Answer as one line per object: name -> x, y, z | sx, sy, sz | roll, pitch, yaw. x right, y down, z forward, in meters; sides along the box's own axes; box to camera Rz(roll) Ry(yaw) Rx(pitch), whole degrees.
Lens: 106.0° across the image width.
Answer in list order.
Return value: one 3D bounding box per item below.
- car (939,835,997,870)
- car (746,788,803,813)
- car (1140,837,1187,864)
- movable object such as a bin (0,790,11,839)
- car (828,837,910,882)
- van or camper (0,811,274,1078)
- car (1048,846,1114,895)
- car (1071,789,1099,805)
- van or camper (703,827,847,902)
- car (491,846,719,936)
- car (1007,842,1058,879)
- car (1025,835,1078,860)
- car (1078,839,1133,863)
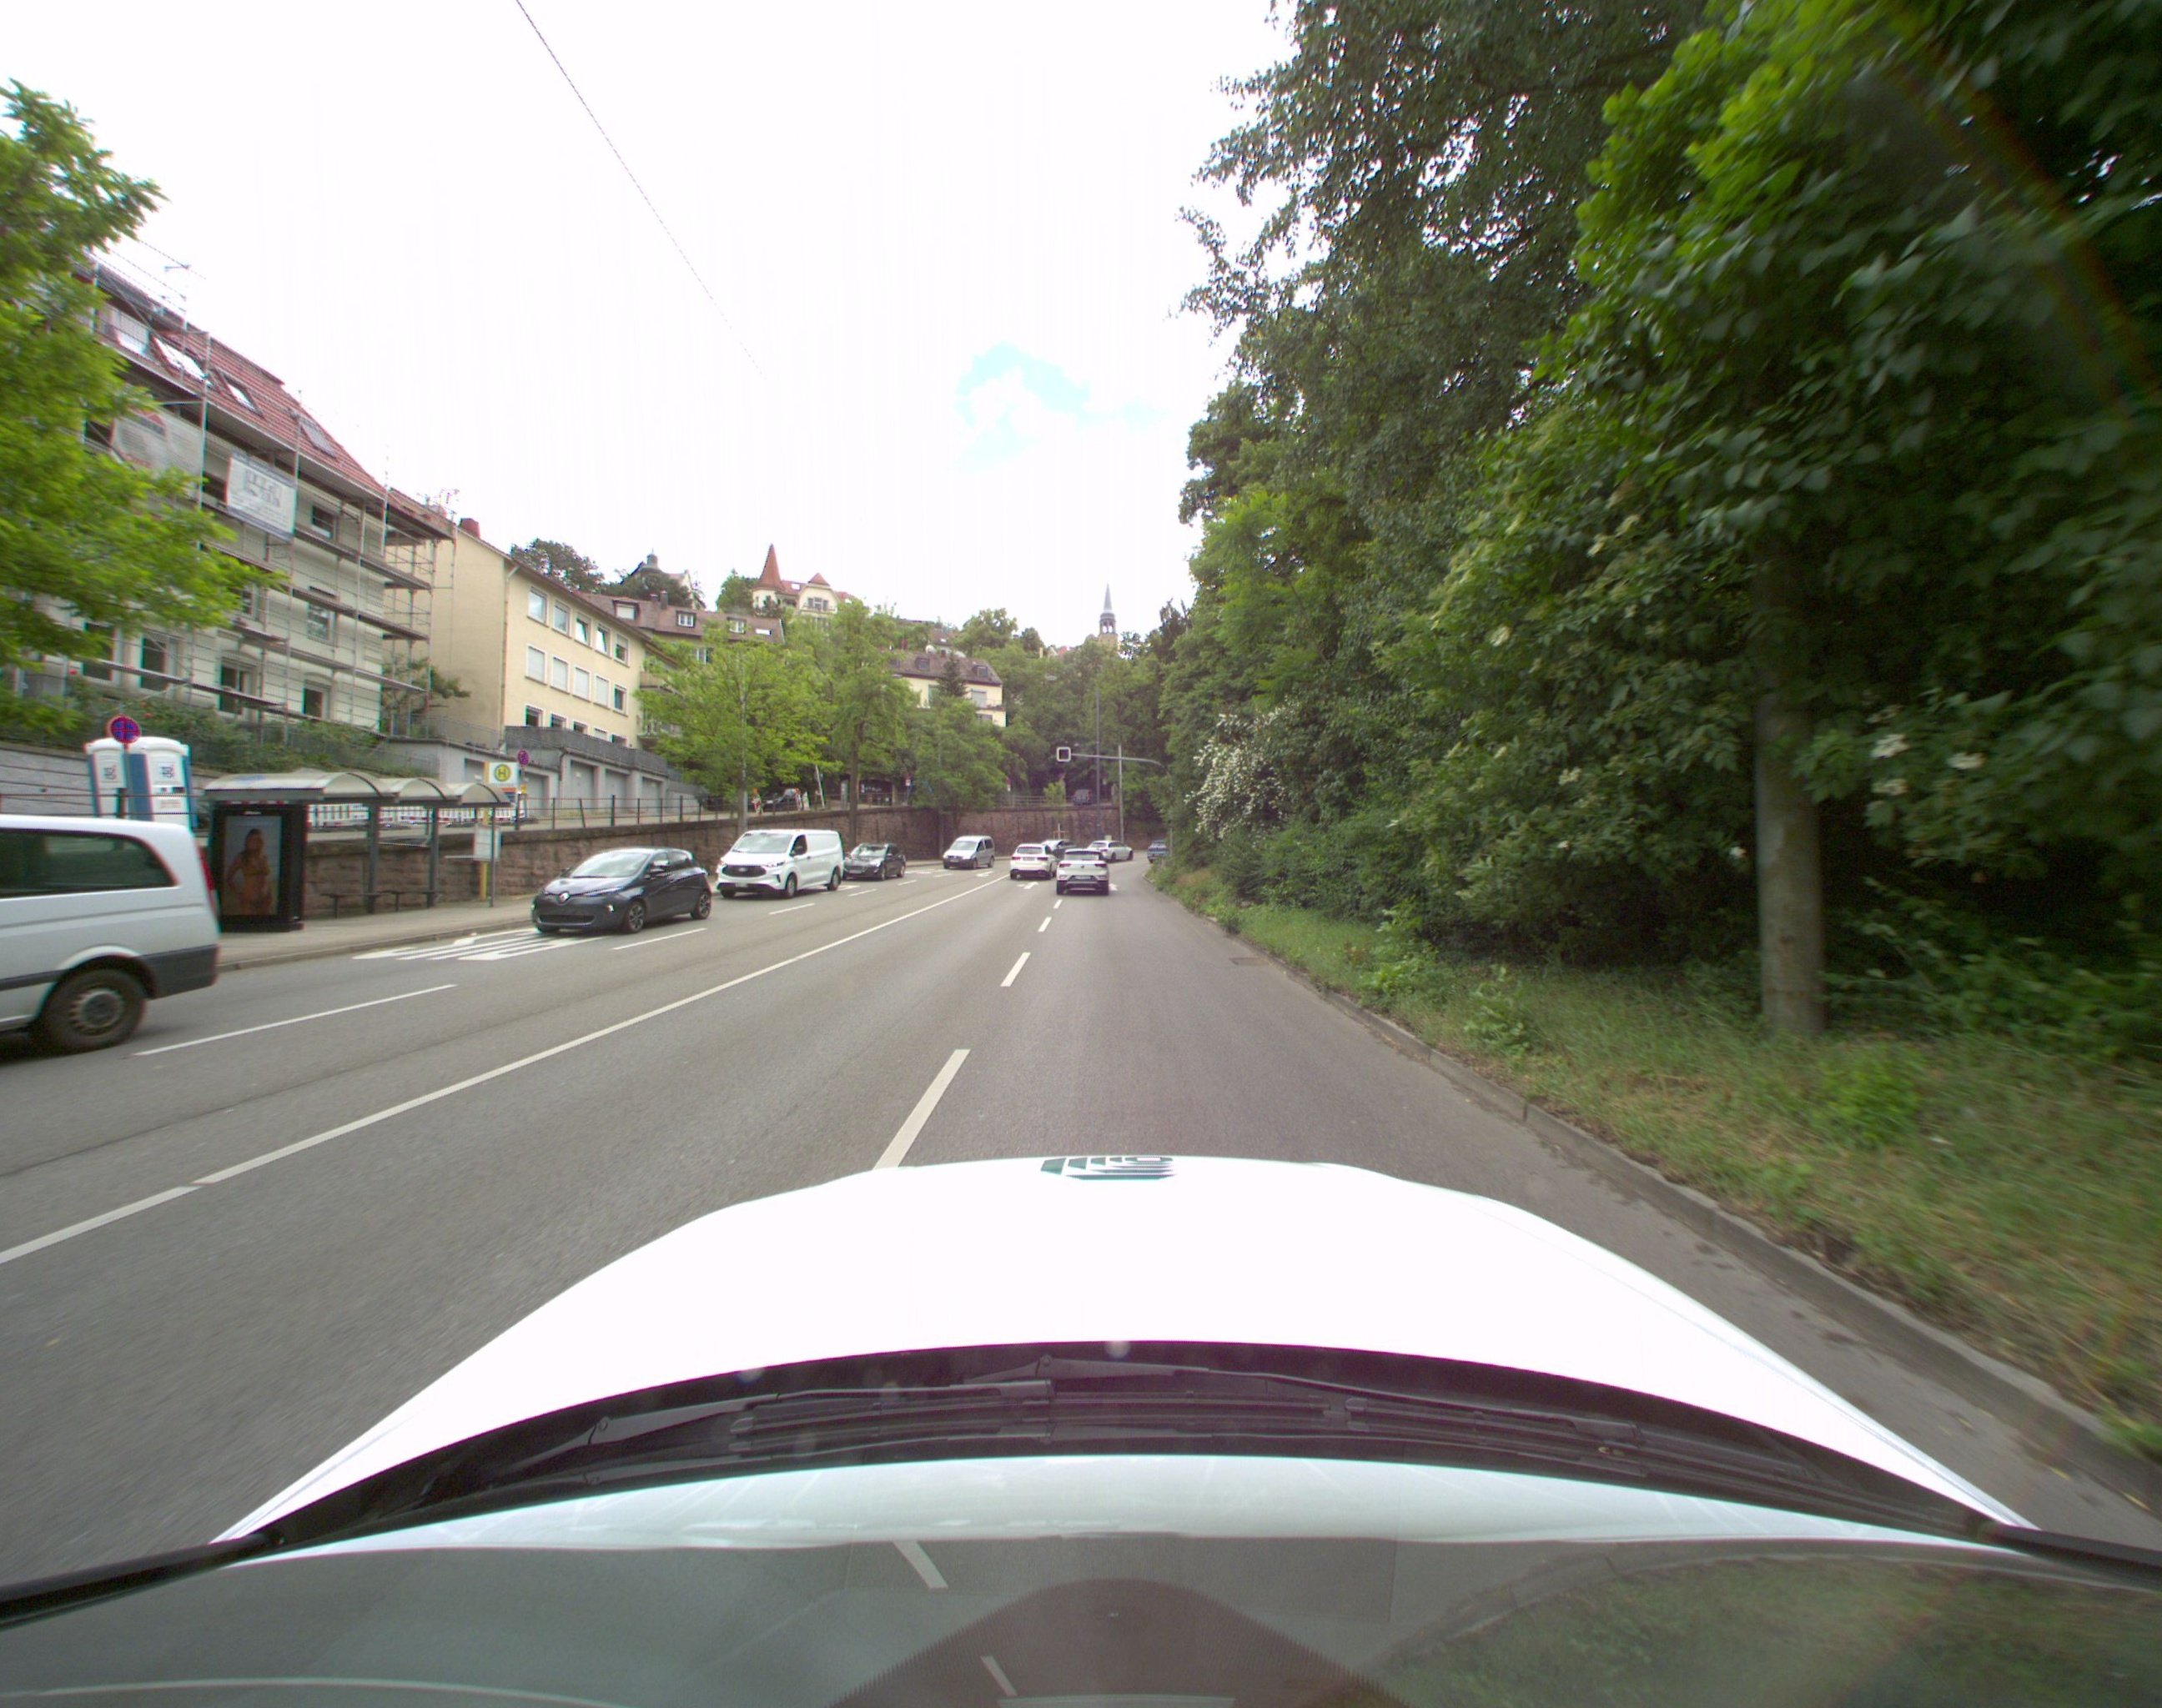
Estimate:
car -> -6.254, -0.145, 45.644 | 1.933, 1.798, 4.299 | 2, 2, 11
car -> -18.802, -3.260, 50.139 | 1.540, 1.279, 3.611 | -2, 0, 12
car -> 5.586, -0.259, 54.646 | 1.844, 1.632, 3.982 | -4, -1, 25
movable object such as a bin -> -23.380, -0.834, 17.052 | 0.804, 1.042, 0.837 | -1, 0, -4
car -> -8.726, 0.168, 33.931 | 1.985, 1.617, 4.335 | 2, 2, 4
van or camper -> -8.670, 0.653, 4.980 | 1.987, 1.895, 5.457 | -1, 0, 0
car -> -0.076, 0.522, 28.401 | 1.863, 1.556, 3.885 | 1, 0, -7
car -> 0.412, -5.643, 80.120 | 1.981, 1.485, 4.014 | -1, 4, 11
van or camper -> -9.043, 0.250, 24.712 | 1.985, 2.013, 5.566 | 0, 0, 3
car -> -8.940, 0.608, 15.768 | 1.986, 1.520, 3.992 | 0, 0, 1
car -> -2.215, 0.282, 38.523 | 1.869, 1.652, 4.346 | 0, 0, 4
car -> -2.017, -0.480, 56.894 | 1.928, 1.693, 4.310 | 2, 2, 25
car -> 1.711, -0.222, 55.370 | 2.227, 1.519, 4.332 | -1, 0, 24
